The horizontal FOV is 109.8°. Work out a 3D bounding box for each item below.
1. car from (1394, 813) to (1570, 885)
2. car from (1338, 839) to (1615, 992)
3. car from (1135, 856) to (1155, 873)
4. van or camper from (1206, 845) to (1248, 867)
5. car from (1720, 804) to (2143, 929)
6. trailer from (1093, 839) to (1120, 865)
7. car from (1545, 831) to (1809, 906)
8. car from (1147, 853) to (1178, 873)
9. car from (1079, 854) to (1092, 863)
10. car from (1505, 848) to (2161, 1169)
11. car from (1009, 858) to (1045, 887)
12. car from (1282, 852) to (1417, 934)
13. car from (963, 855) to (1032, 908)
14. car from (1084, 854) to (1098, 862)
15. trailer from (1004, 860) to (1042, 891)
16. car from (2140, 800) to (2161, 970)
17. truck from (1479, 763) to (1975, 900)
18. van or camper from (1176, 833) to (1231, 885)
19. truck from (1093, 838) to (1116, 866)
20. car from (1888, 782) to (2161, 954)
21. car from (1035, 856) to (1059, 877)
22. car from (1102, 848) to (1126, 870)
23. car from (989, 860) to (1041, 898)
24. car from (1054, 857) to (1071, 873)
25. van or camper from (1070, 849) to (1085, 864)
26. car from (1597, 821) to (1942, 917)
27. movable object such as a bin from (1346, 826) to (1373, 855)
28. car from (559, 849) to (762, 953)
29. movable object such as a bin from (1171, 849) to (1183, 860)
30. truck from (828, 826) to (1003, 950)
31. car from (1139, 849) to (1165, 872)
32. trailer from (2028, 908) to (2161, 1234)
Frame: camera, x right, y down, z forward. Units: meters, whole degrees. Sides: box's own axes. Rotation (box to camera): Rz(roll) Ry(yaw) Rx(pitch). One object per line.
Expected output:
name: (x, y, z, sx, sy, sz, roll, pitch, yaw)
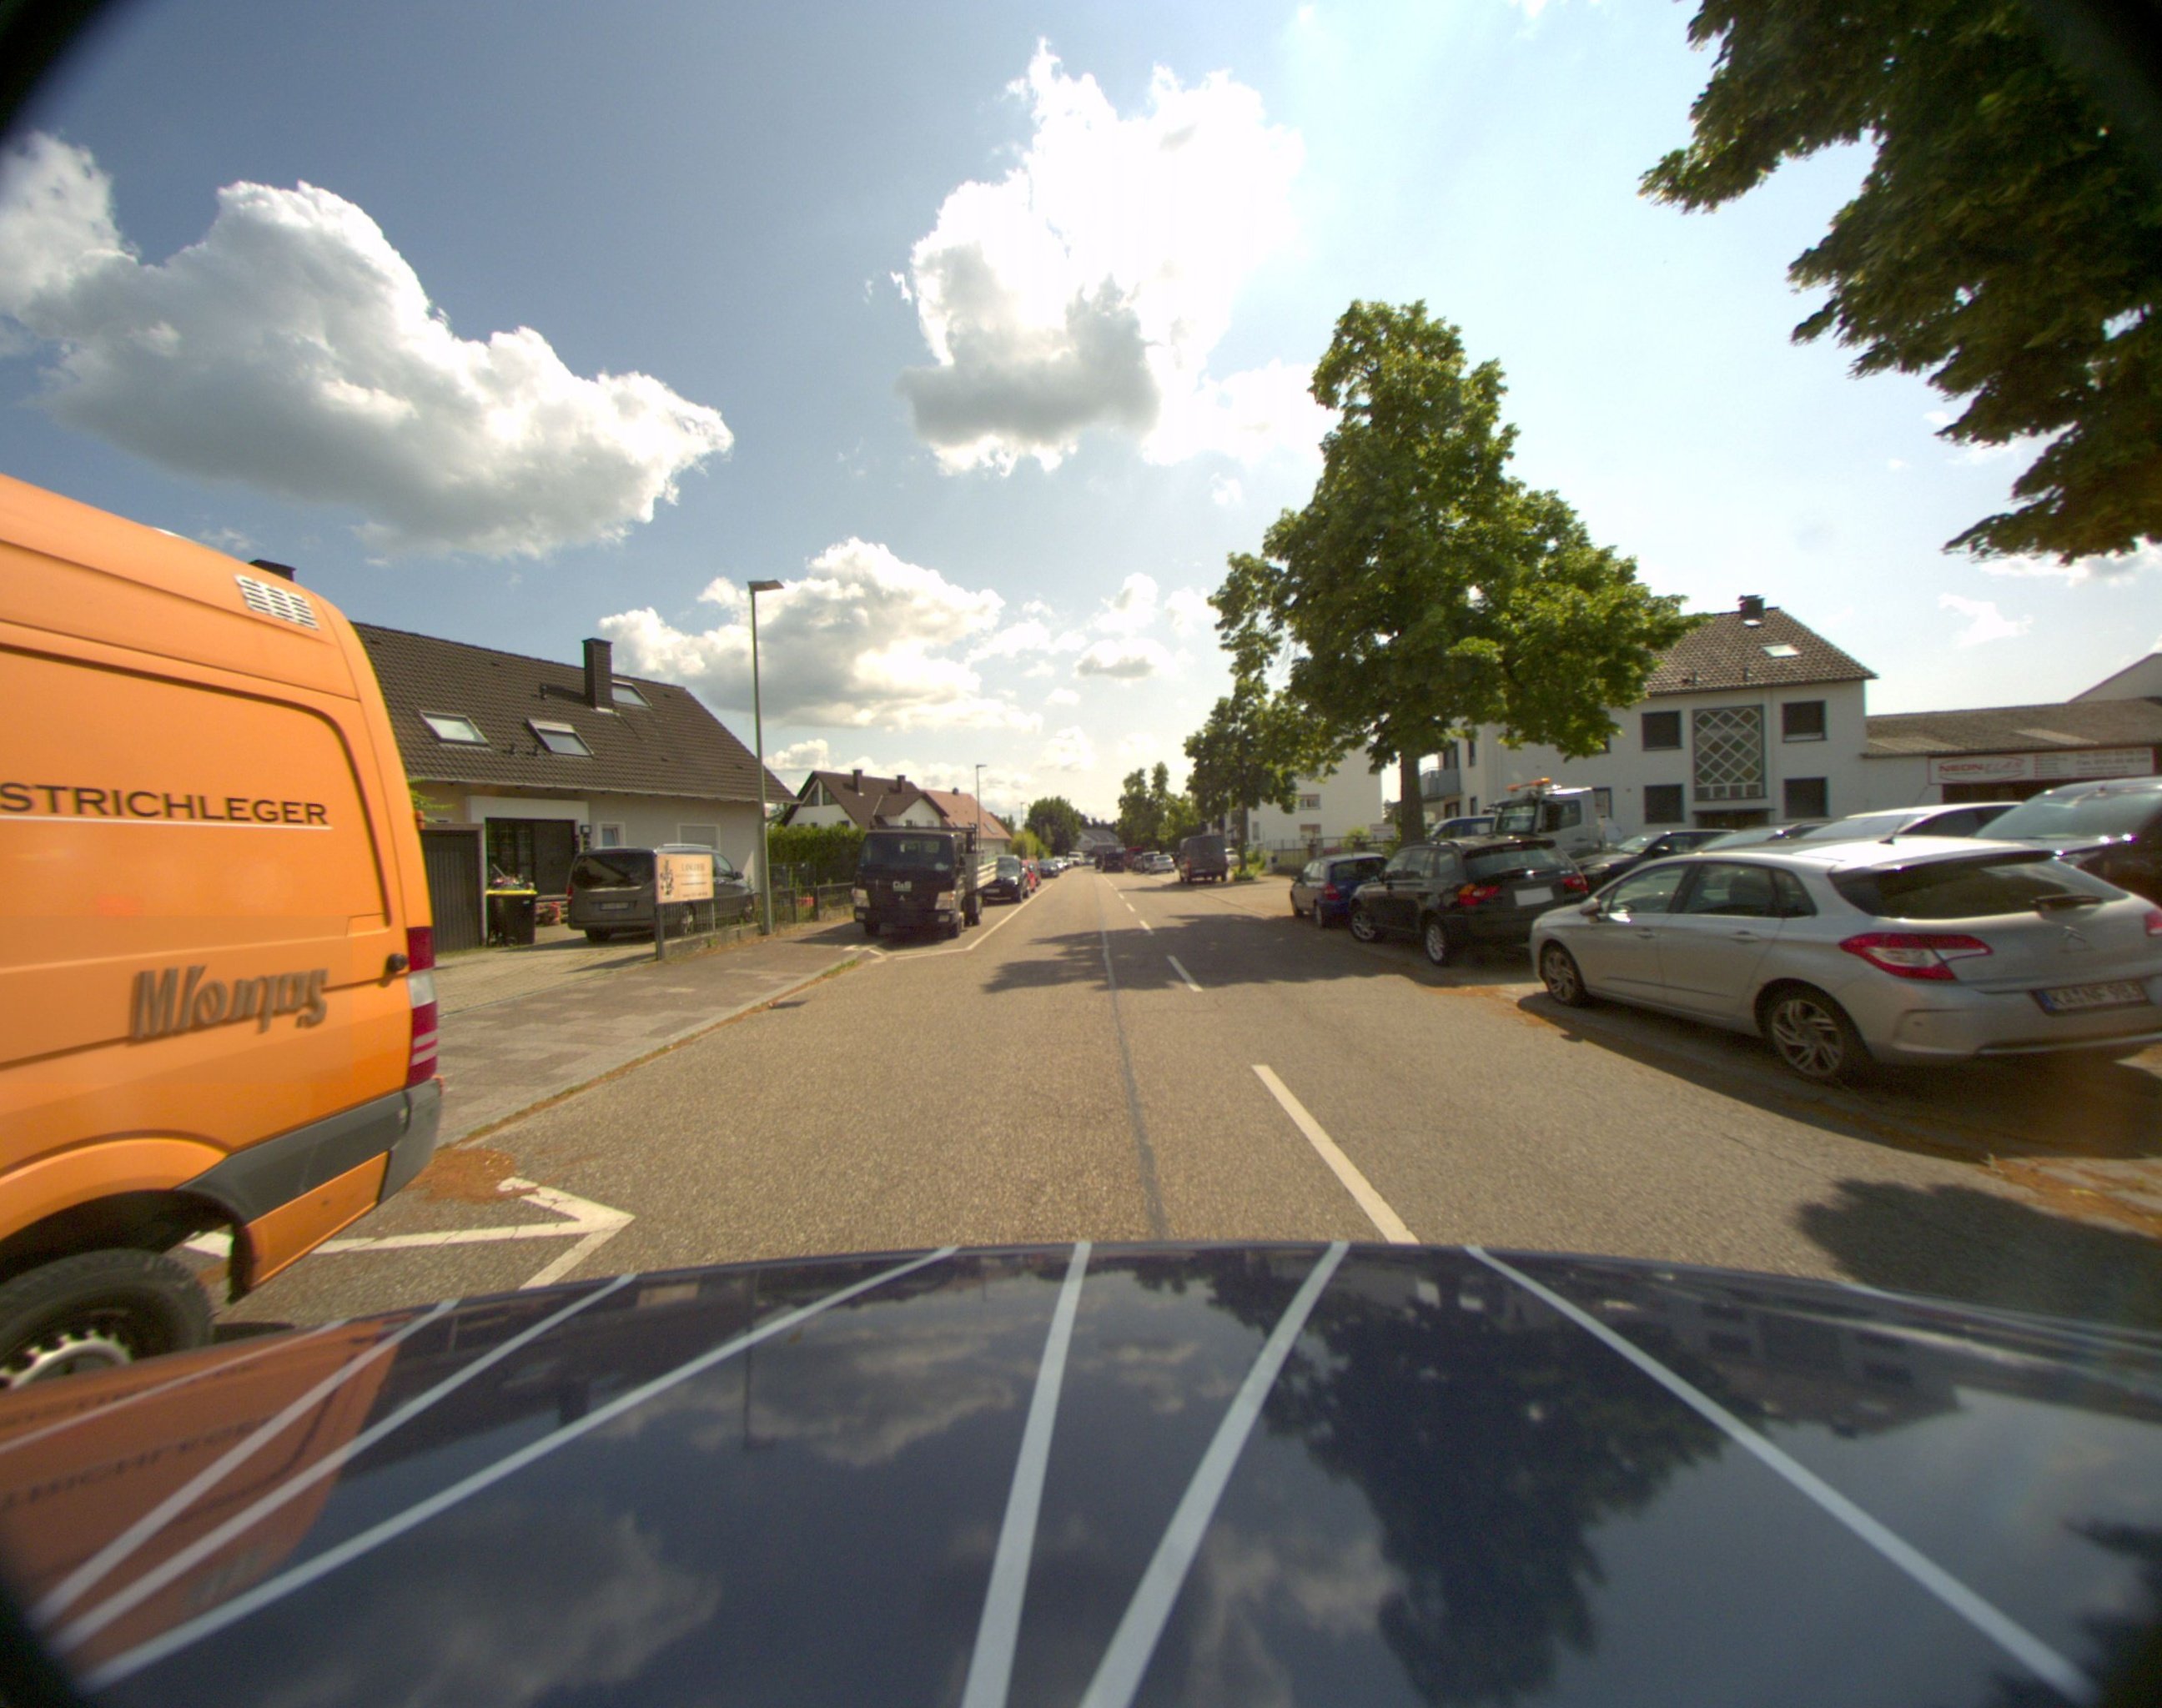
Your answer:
car: (13.701, -0.177, 26.312, 5.008, 2.219, 2.001, -2, 2, 14)
car: (5.425, 0.724, 11.187, 1.697, 1.690, 4.400, -4, 0, 0)
car: (6.243, 0.977, 74.482, 1.626, 1.461, 3.925, -4, 1, 2)
van or camper: (12.155, 0.161, 63.186, 1.776, 1.534, 4.007, -3, 0, 36)
car: (12.559, 0.179, 11.443, 4.305, 1.605, 1.827, -2, 0, 0)
trailer: (3.094, -0.243, 94.557, 2.842, 3.051, 8.888, -2, 0, -2)
car: (12.487, 0.308, 16.128, 4.206, 1.450, 1.679, -1, 0, 3)
car: (6.713, 0.774, 63.012, 1.753, 1.452, 4.709, -5, -1, -2)
car: (0.740, 0.808, 133.111, 1.683, 1.513, 4.065, -1, 0, 8)
car: (5.393, 0.780, 5.945, 1.837, 1.519, 4.237, -4, 0, 2)
car: (-2.988, 0.998, 43.052, 1.696, 1.454, 4.755, -2, 0, -1)
car: (5.631, 0.740, 16.472, 1.703, 1.475, 4.160, -2, 0, 5)
car: (-2.893, 0.907, 27.311, 1.834, 1.652, 4.554, -2, 0, 1)
car: (1.884, 0.752, 139.583, 1.818, 1.513, 4.268, -1, 0, 10)
trailer: (-2.868, 1.045, 38.419, 1.612, 1.370, 4.432, -2, 0, -1)
car: (12.222, 0.249, 6.280, 4.153, 1.609, 1.827, -2, 1, 3)
truck: (15.106, -0.467, 18.431, 9.278, 2.839, 2.721, -1, 0, 5)
van or camper: (6.228, 0.219, 39.342, 1.998, 2.303, 5.934, -5, 0, 3)
truck: (3.011, -0.218, 99.747, 2.780, 3.478, 5.881, -2, 0, 0)
car: (12.430, 0.095, 8.772, 4.153, 1.778, 1.827, -2, 1, 3)
car: (-2.692, 0.987, 60.485, 1.748, 1.542, 4.121, -1, 0, -1)
car: (3.118, 0.486, 73.027, 2.056, 2.022, 5.141, 0, 0, 0)
car: (-2.807, 1.044, 33.132, 1.689, 1.427, 4.146, -2, 0, 2)
car: (-2.283, 1.345, 93.829, 1.896, 1.763, 4.709, -2, 0, 0)
van or camper: (-0.519, 0.385, 124.697, 1.972, 2.345, 5.760, -1, 0, 4)
car: (12.357, 0.273, 13.896, 4.535, 1.573, 1.828, -1, 0, 3)
movable object such as a bin: (15.759, -0.755, 43.072, 1.311, 1.422, 1.606, -2, -6, 17)
car: (-8.806, 0.860, 16.544, 1.862, 1.855, 5.018, -2, 0, -4)
movable object such as a bin: (12.456, 0.113, 98.825, 1.299, 1.377, 1.291, -3, 0, -6)
truck: (-3.409, 0.619, 17.194, 2.528, 2.286, 5.895, 1, 0, 1)
car: (6.343, 0.552, 68.592, 1.814, 1.795, 4.491, -5, 0, 0)
trailer: (5.309, 0.867, 1.268, 1.766, 1.282, 4.507, -5, 0, 0)
